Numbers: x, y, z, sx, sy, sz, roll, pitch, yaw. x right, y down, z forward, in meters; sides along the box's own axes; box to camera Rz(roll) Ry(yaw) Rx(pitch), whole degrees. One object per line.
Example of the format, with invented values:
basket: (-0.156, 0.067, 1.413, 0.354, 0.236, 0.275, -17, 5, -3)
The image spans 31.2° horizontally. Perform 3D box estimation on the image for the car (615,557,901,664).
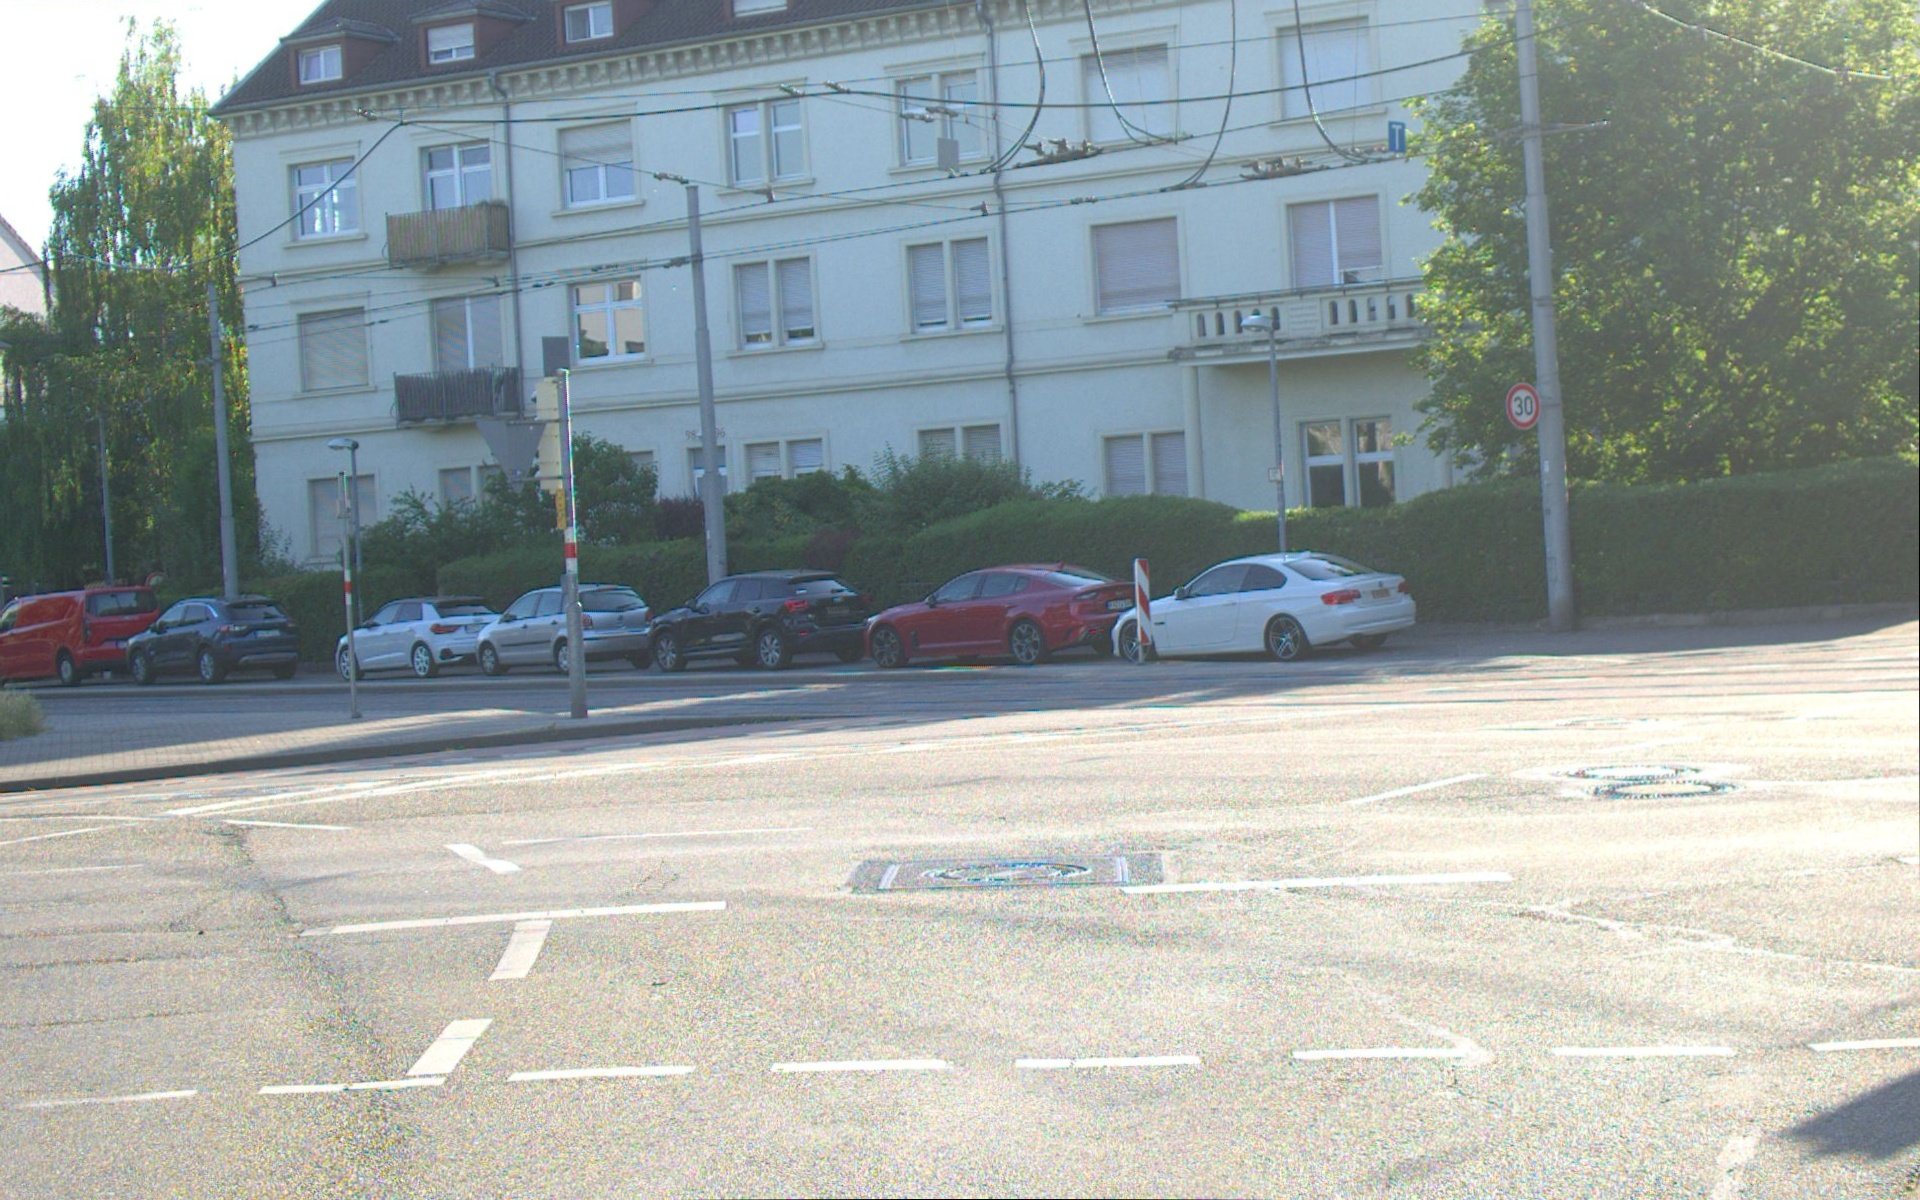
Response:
car: (-3.260, 0.189, 54.643, 1.982, 1.442, 4.703, -7, 3, -41)

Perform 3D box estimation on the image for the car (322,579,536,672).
car: (-9.508, 0.466, 61.384, 1.840, 1.442, 3.957, -7, 3, -41)

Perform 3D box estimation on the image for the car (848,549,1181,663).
car: (0.751, 0.101, 50.132, 4.702, 1.371, 1.982, -2, 3, 44)

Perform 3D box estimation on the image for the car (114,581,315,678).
car: (-14.609, 0.598, 67.221, 1.840, 1.662, 4.368, -7, 3, -41)

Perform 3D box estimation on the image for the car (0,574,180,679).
car: (-18.645, 0.580, 72.262, 2.051, 1.955, 5.148, -7, 3, -41)

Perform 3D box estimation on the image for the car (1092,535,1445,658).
car: (4.091, -0.025, 46.136, 1.926, 1.371, 4.494, -7, 3, -42)

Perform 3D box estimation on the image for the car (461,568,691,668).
car: (-6.495, 0.322, 57.889, 1.982, 1.442, 3.717, -7, 3, -41)
